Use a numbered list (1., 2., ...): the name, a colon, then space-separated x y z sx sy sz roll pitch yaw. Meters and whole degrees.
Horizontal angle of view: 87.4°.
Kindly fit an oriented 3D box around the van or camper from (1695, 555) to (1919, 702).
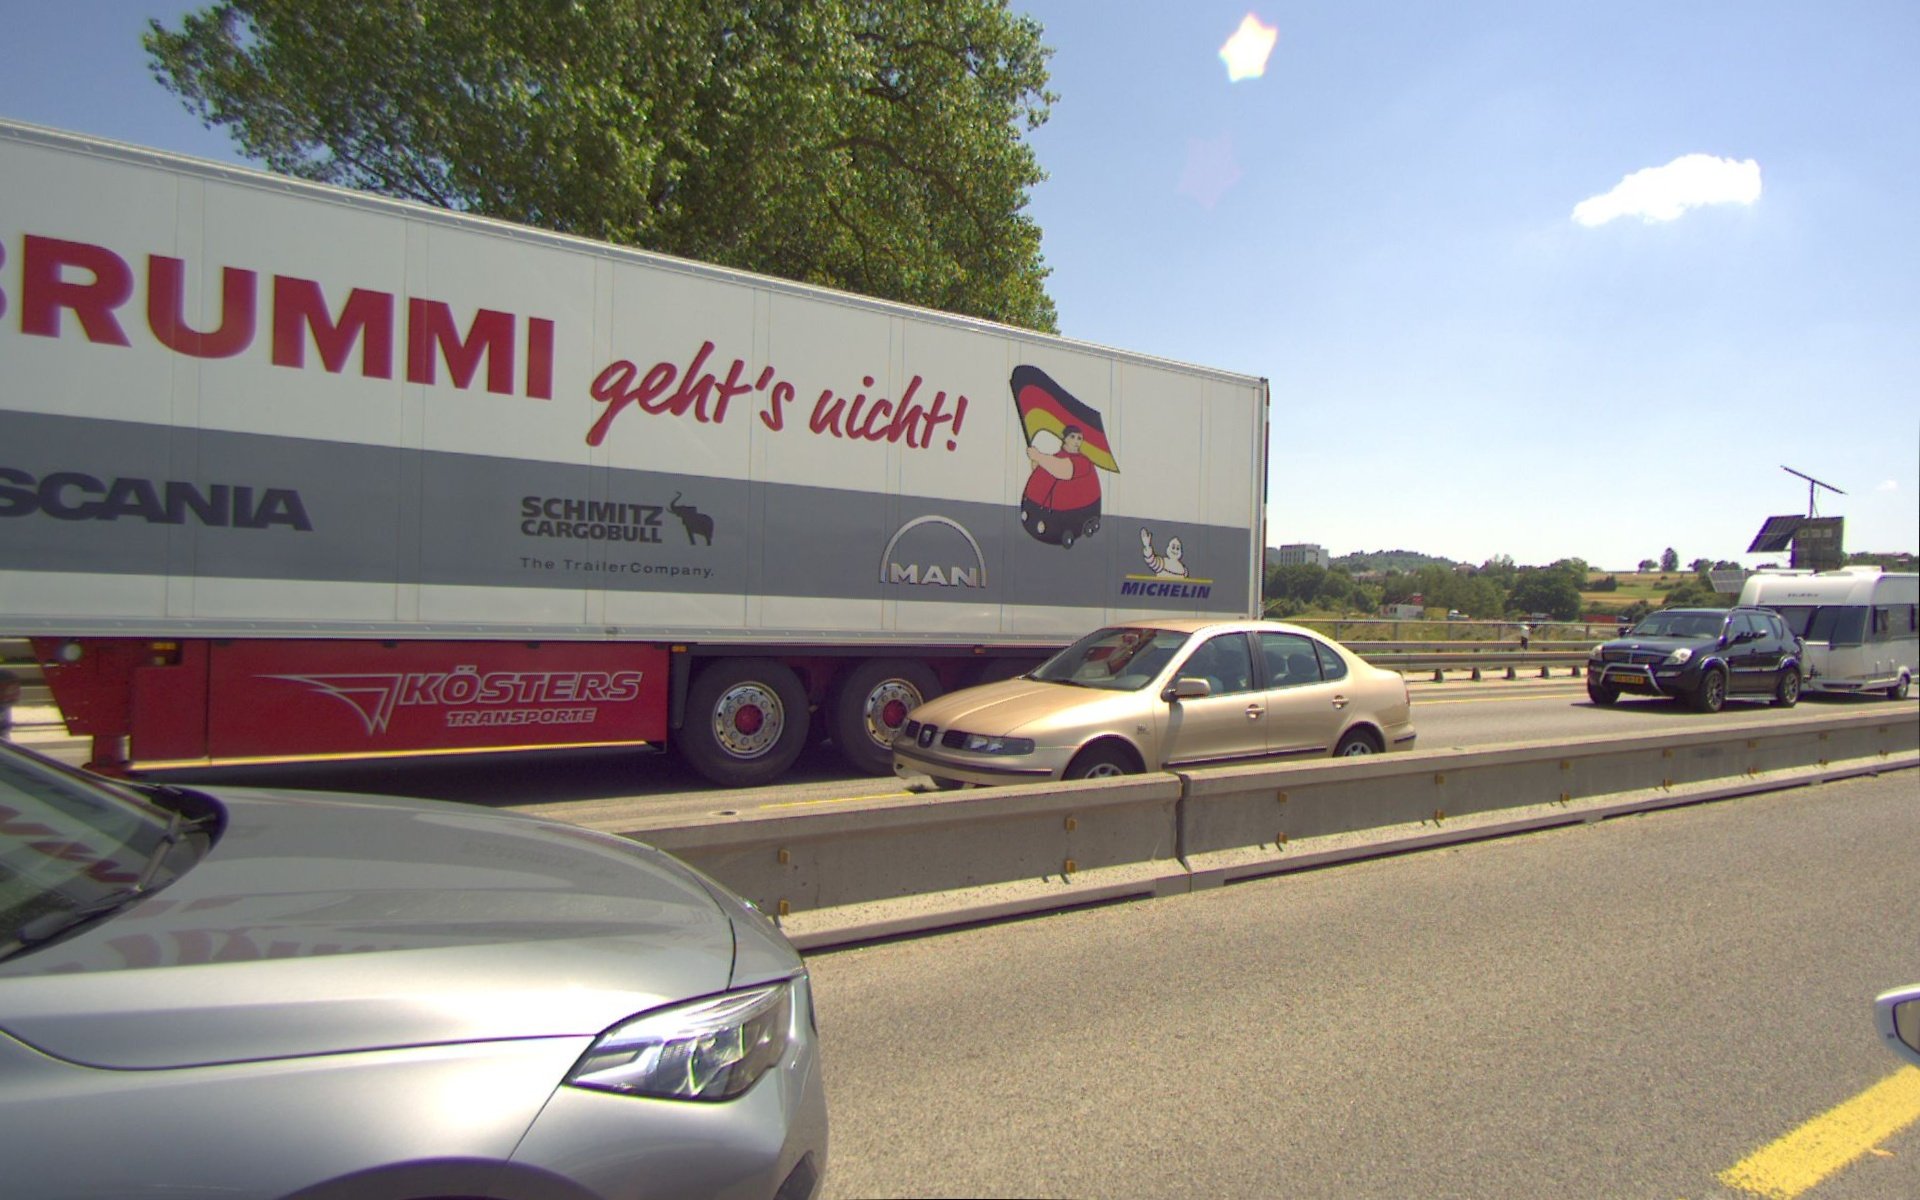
1. van or camper: 18.113 0.572 20.988 5.180 2.734 2.493 1 0 -29

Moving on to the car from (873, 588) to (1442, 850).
1. car: 1.602 0.742 7.658 4.150 1.480 1.890 1 -3 -34

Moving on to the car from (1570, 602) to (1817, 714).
1. car: 12.999 0.962 17.725 4.734 1.757 1.759 1 -1 -30

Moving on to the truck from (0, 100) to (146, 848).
1. truck: -8.557 -0.736 5.126 6.448 4.091 2.801 1 0 -31

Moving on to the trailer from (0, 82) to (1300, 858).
1. trailer: -2.064 -0.658 9.028 11.661 4.232 2.792 1 0 -31

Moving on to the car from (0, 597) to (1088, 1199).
1. car: -2.244 0.724 1.425 4.687 1.471 1.842 1 0 -31
